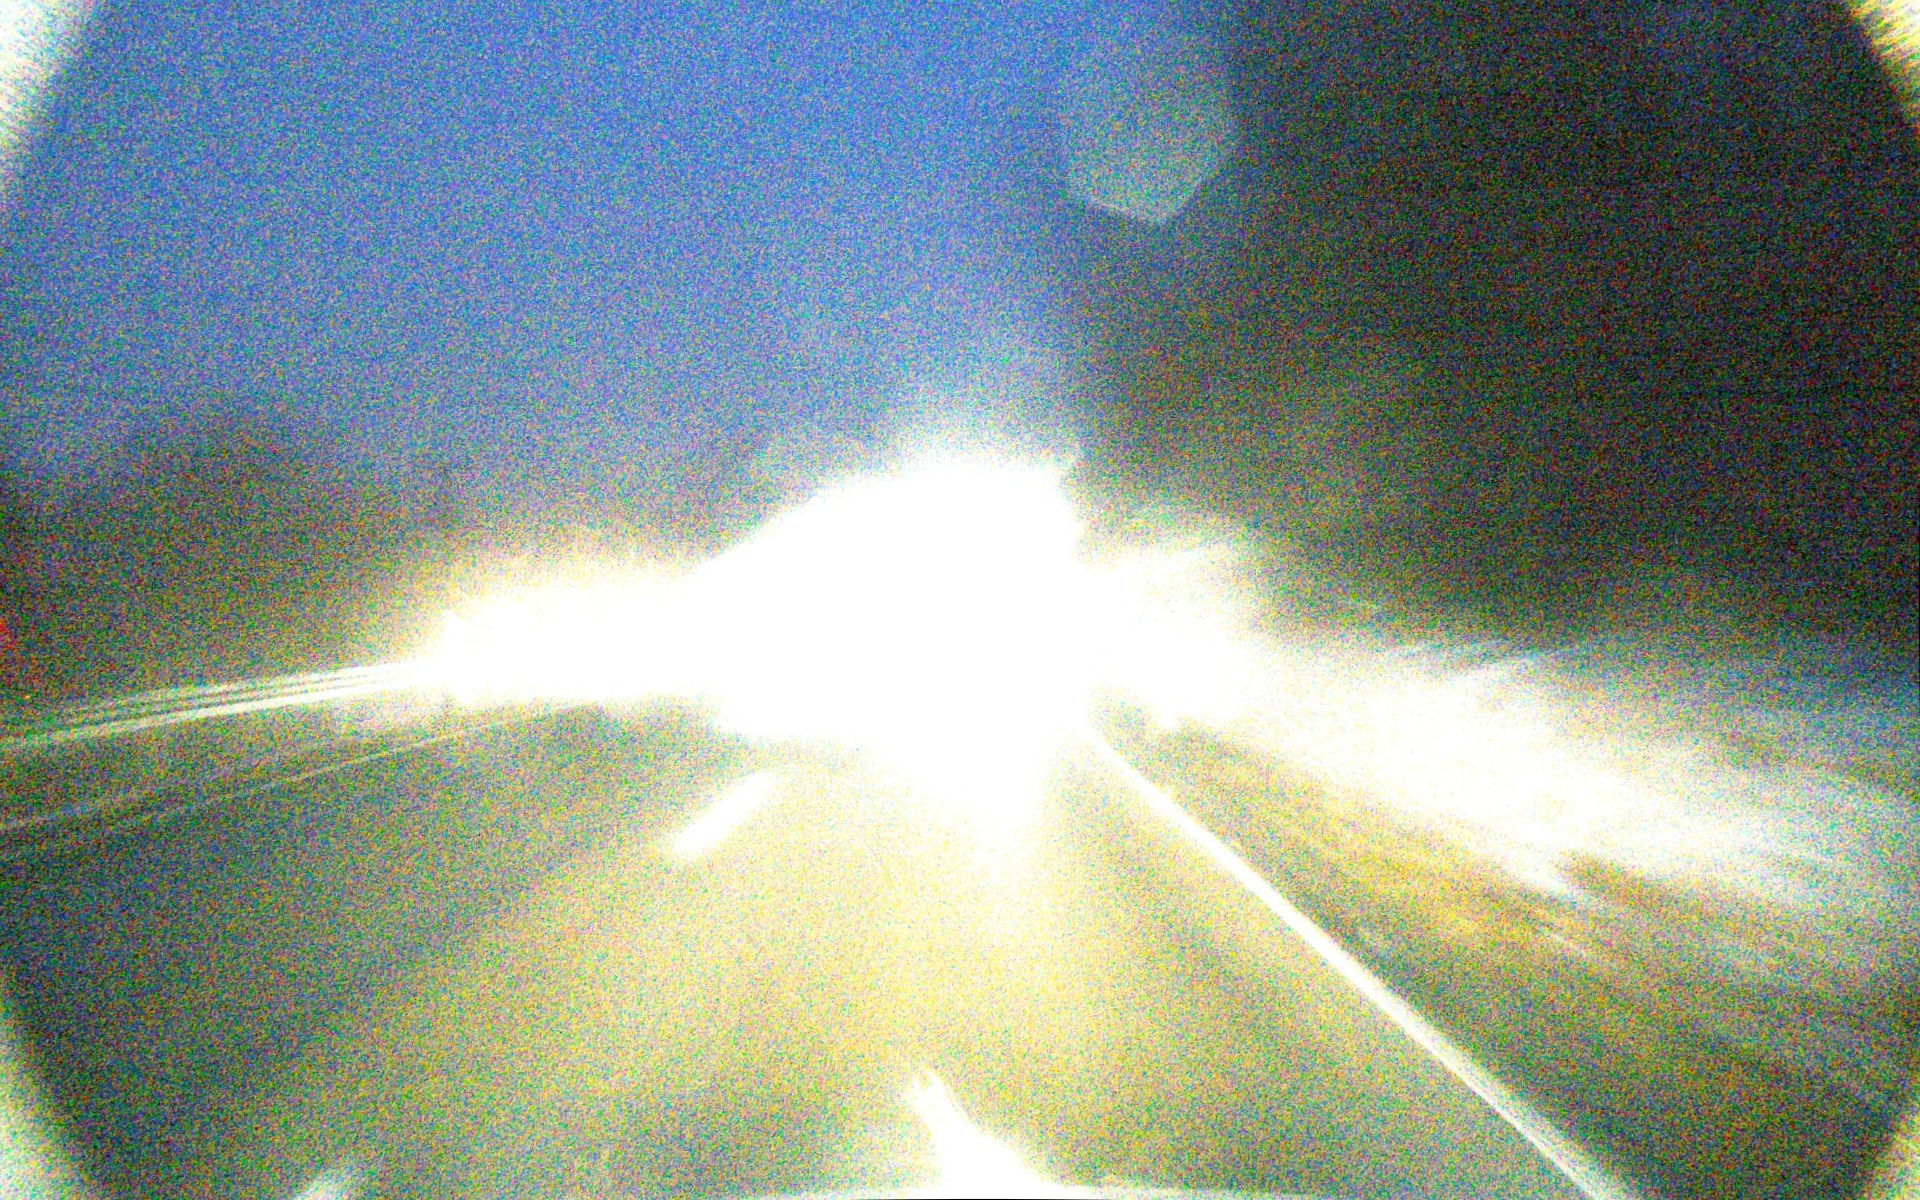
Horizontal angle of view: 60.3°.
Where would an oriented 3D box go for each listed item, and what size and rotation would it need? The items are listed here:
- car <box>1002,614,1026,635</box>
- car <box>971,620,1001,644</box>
[{"bbox_3d":[4.594,2.077,139.698,1.743,1.696,4.474,1,0,5],"label":"car"},{"bbox_3d":[1.650,1.987,102.345,1.703,1.427,3.862,1,0,3],"label":"car"}]
